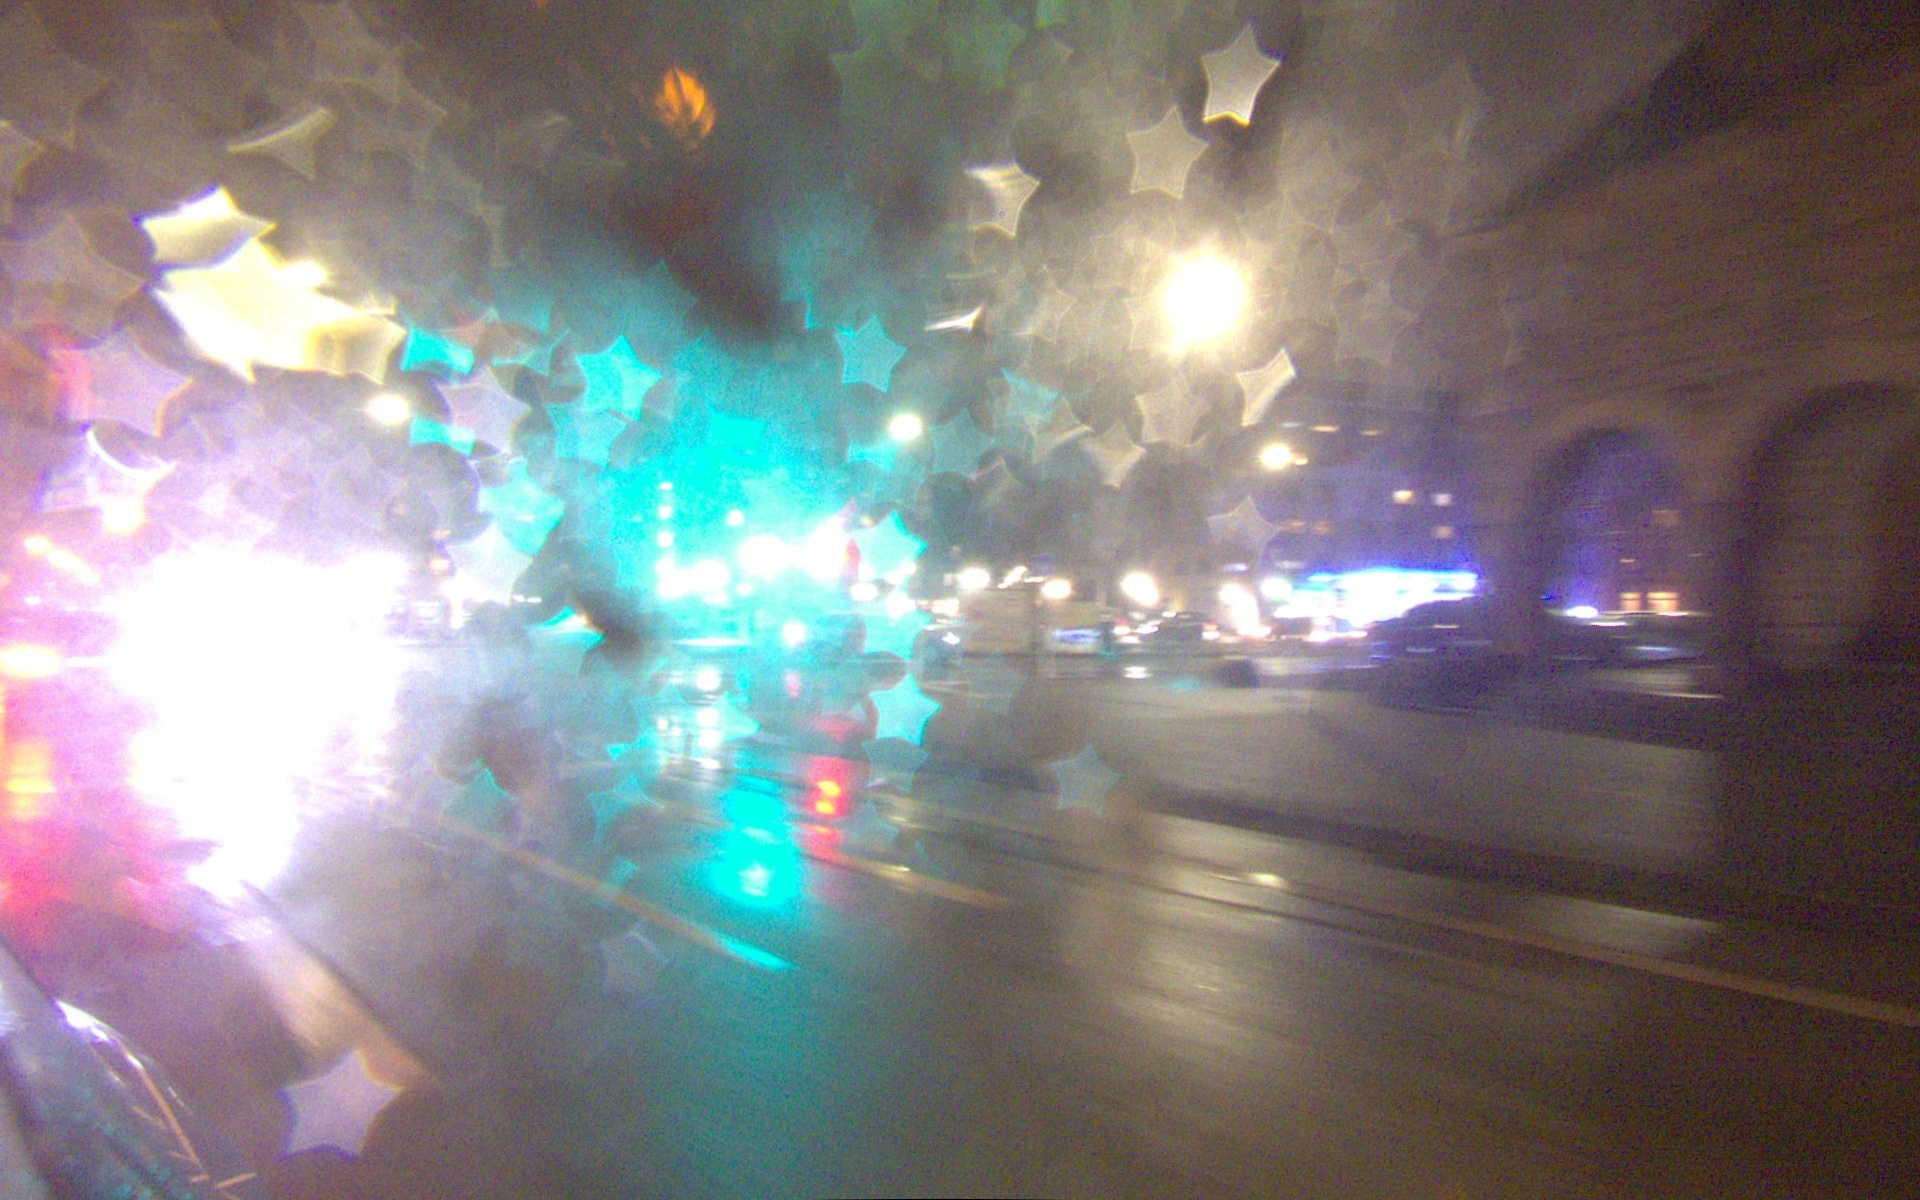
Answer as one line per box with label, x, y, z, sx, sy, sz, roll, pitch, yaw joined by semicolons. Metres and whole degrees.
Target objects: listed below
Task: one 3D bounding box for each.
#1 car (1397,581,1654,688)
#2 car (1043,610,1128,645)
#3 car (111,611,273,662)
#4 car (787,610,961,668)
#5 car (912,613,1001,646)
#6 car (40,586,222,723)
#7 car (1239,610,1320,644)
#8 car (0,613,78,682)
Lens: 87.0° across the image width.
car;10.227;0.658;18.684;1.671;1.741;4.012;2;-3;-20
car;6.554;1.434;53.052;3.931;1.785;2.006;1;-1;-17
car;-23.266;1.056;30.624;5.045;1.436;1.981;0;-1;28
car;-2.428;1.062;28.232;4.655;1.436;2.004;-1;0;-8
car;-0.186;1.483;51.115;4.148;1.578;1.855;1;-1;-19
car;-12.652;0.743;15.339;1.784;1.783;4.276;1;-2;-44
car;17.978;1.521;56.954;3.932;1.852;1.860;0;-1;-15
car;-21.299;1.021;22.847;1.801;1.436;4.209;1;-2;-45
